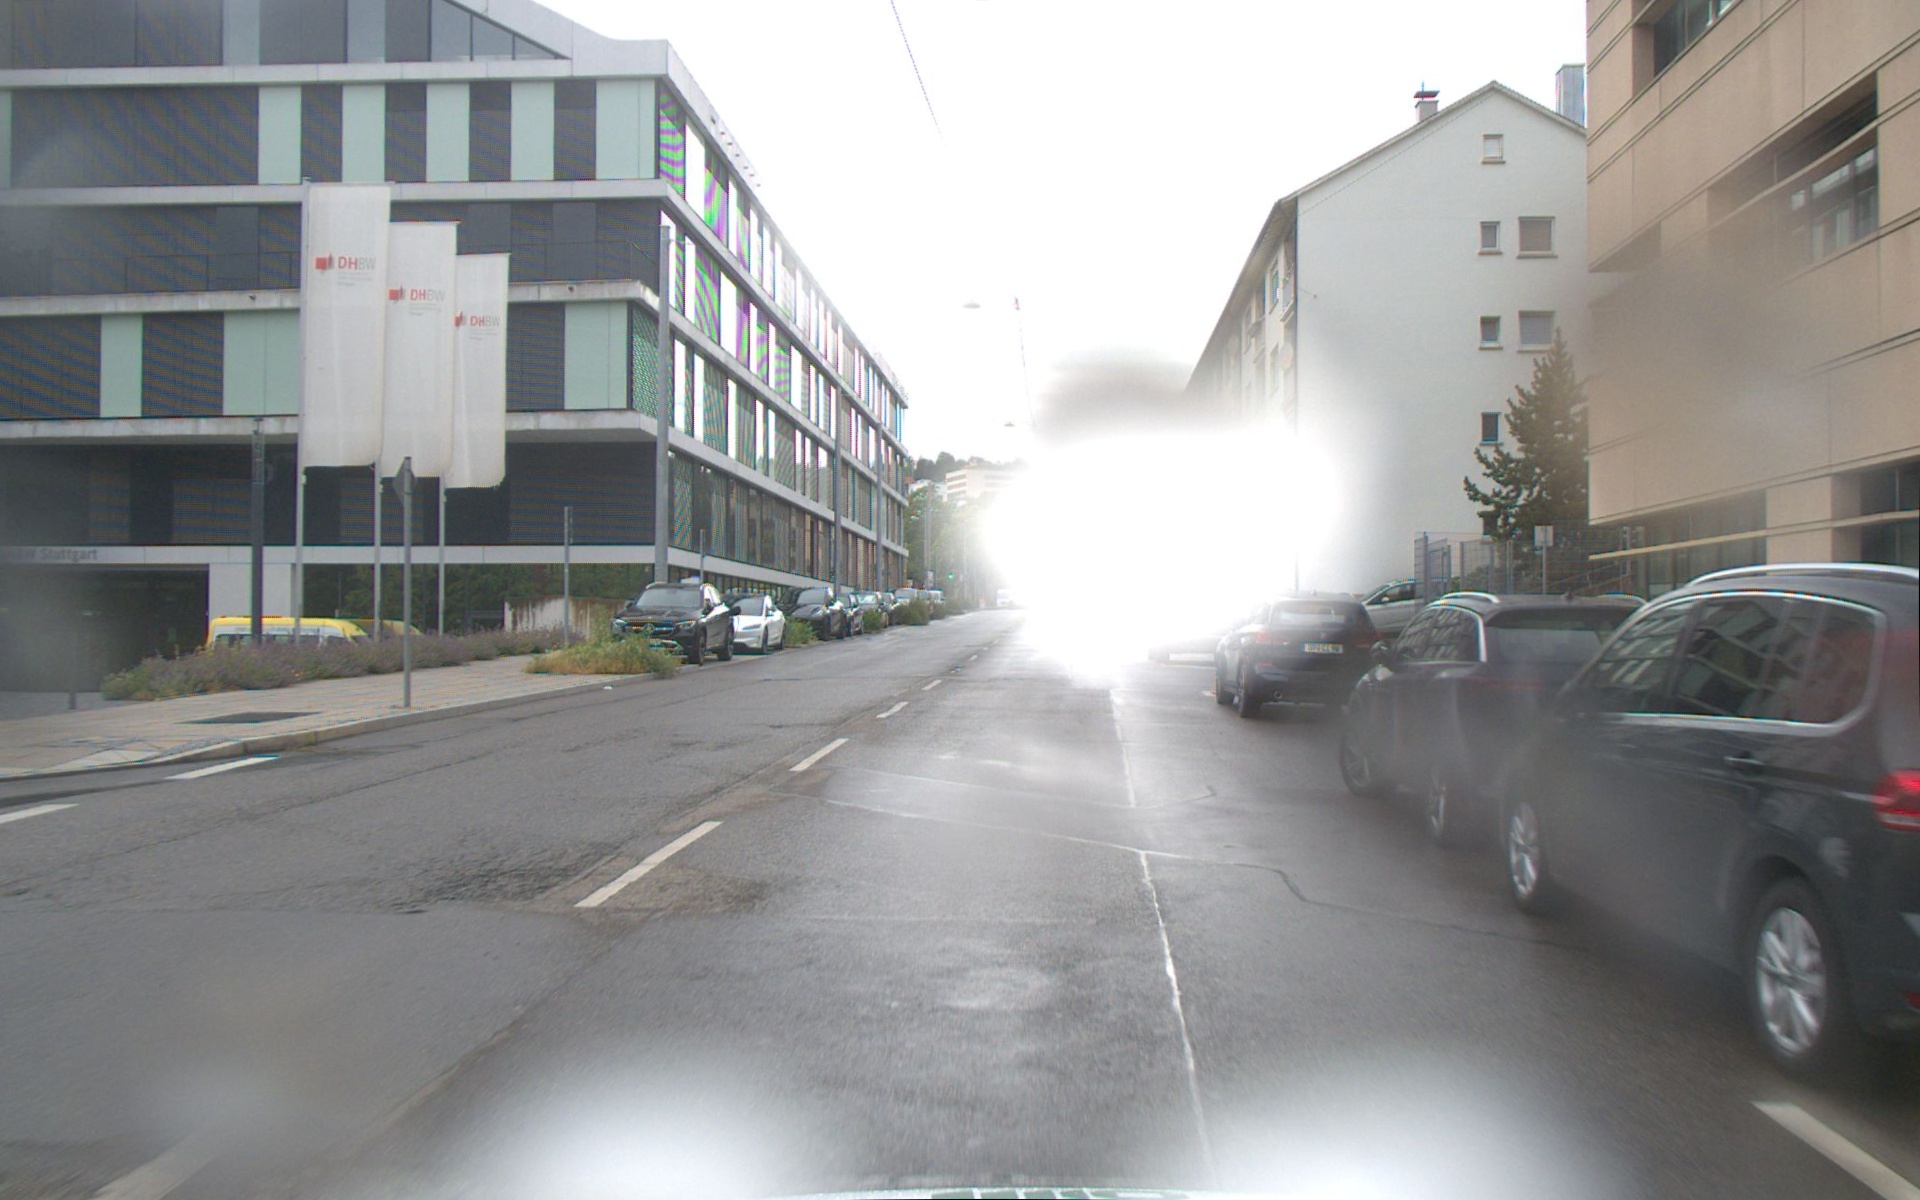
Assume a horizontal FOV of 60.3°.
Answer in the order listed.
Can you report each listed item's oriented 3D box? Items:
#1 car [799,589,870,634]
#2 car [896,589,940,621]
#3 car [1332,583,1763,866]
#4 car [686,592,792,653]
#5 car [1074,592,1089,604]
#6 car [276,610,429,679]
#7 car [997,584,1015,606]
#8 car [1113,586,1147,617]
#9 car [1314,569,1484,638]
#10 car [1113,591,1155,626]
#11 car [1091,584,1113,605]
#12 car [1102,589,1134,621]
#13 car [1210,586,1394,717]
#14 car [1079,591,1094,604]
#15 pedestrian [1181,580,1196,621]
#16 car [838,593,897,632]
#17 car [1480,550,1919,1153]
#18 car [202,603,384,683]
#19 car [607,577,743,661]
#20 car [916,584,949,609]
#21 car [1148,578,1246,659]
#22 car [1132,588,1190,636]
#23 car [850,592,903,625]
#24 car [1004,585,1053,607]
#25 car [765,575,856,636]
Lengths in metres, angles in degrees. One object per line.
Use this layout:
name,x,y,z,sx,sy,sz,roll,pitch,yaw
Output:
car,-4.347,0.382,57.961,1.832,1.498,4.743,1,0,4
car,-2.242,0.268,89.281,1.763,1.632,4.237,1,0,6
car,3.799,0.720,11.457,1.689,1.539,4.059,2,0,3
car,-5.529,0.540,41.899,1.783,1.443,4.404,1,0,4
car,16.404,-0.286,223.850,1.827,1.632,4.192,1,0,6
car,-19.243,1.383,52.479,4.251,2.068,1.599,1,0,3
car,5.606,-0.642,201.876,2.061,2.591,4.751,1,0,1
car,8.953,0.077,87.467,1.600,1.598,3.712,1,0,3
car,12.535,0.099,47.467,4.345,1.742,1.906,-3,0,3
car,7.712,0.351,73.501,1.670,1.480,3.986,1,0,3
car,12.534,-0.479,145.669,1.827,1.801,4.192,1,0,6
car,8.968,0.252,94.048,1.620,1.768,4.181,0,1,3
car,4.475,0.620,22.203,1.707,1.560,4.321,1,0,2
car,16.532,-0.308,215.650,1.827,1.632,4.192,1,0,6
pedestrian,10.649,0.037,77.144,0.625,1.903,0.539,1,0,5
car,-3.725,0.473,67.291,1.824,1.515,4.349,1,0,4
car,3.561,0.690,6.598,1.734,1.632,4.396,1,0,2
car,-19.488,1.233,48.450,4.498,2.212,1.930,1,0,-2
car,-5.980,0.371,35.209,1.810,1.646,4.493,1,0,4
car,-1.660,-0.214,100.195,1.561,1.485,3.721,1,1,5
car,5.536,0.407,39.180,1.895,1.780,4.799,1,0,3
car,6.485,0.380,53.674,1.638,1.485,3.765,0,-1,3
car,-3.683,0.364,73.650,1.799,1.420,4.394,1,0,4
car,5.843,-0.324,140.483,4.132,1.698,1.630,-3,-5,43
car,-4.638,0.165,52.014,1.921,1.780,4.945,1,0,6
